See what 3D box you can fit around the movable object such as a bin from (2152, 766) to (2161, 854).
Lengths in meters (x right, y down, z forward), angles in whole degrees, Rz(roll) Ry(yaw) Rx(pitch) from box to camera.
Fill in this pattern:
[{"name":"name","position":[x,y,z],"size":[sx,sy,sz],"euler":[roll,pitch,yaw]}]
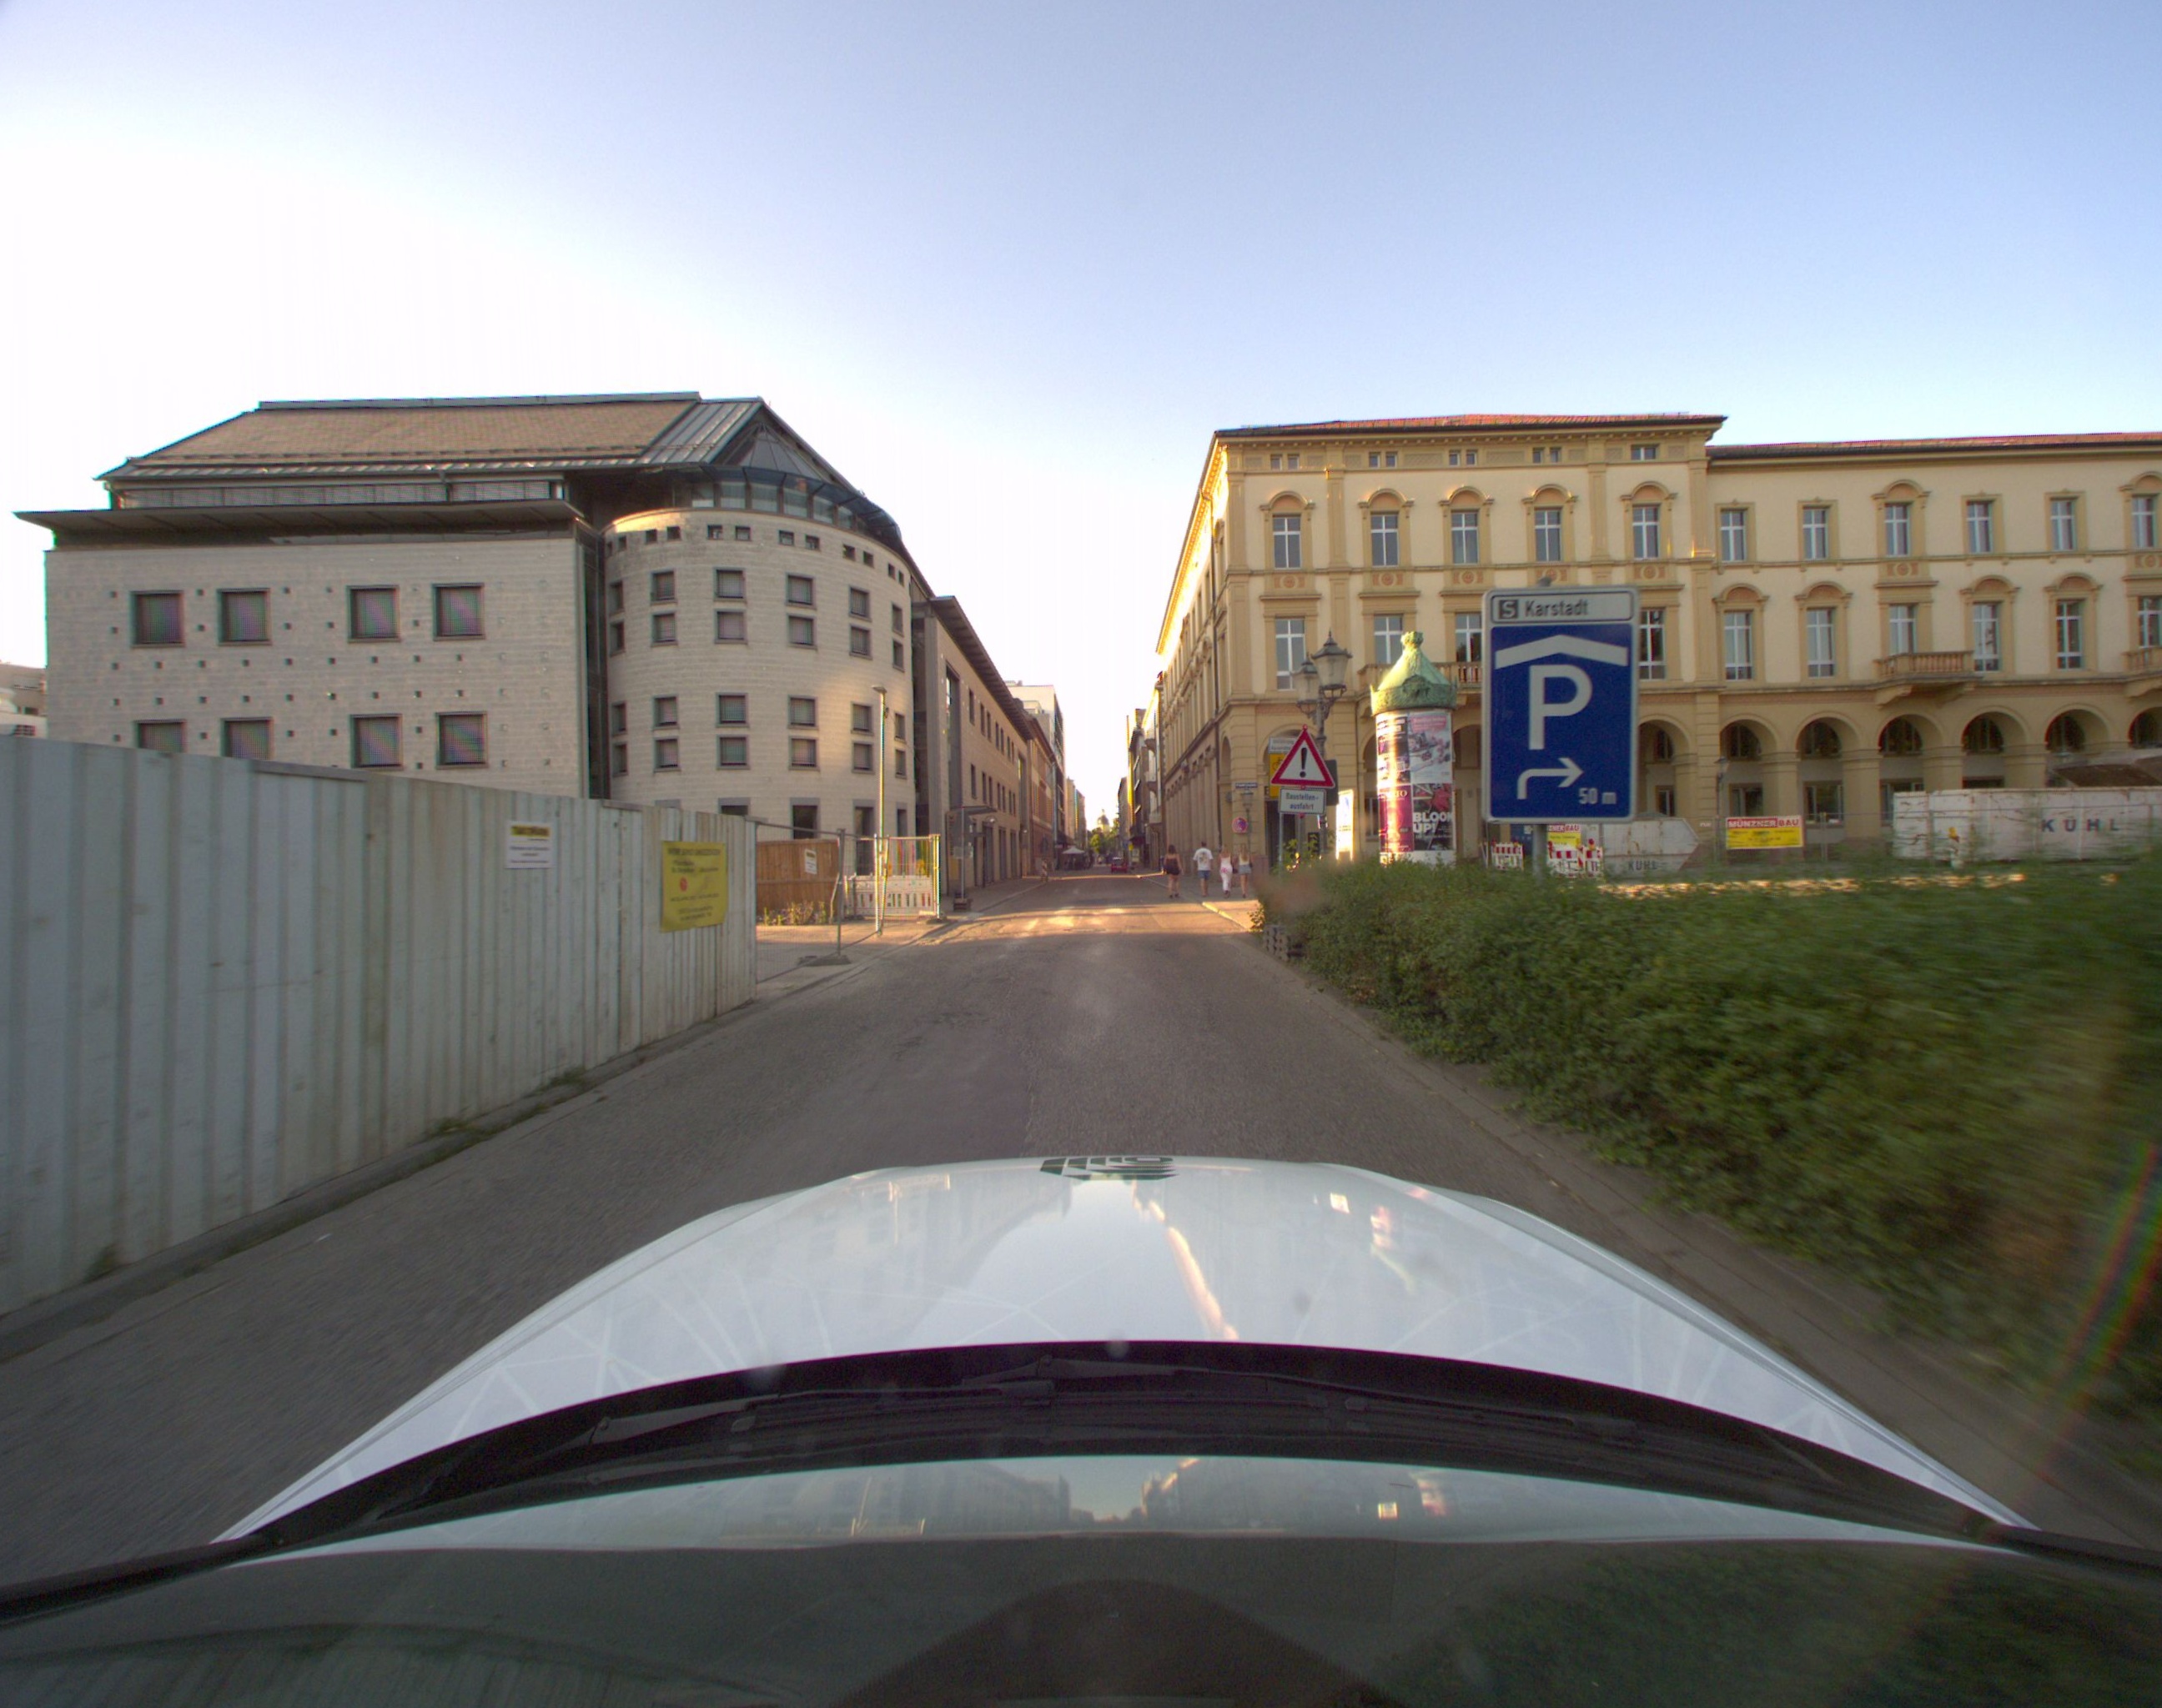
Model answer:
[{"name":"movable object such as a bin","position":[39.226,-1.581,26.904],"size":[4.868,3.008,2.001],"euler":[-2,0,2]}]

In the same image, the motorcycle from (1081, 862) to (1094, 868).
[{"name":"motorcycle","position":[0.961,1.590,122.477],"size":[1.797,0.875,0.560],"euler":[-1,-1,-3]}]

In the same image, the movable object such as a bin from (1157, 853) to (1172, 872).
[{"name":"movable object such as a bin","position":[6.320,0.620,61.611],"size":[0.987,1.392,1.240],"euler":[-2,0,0]}]

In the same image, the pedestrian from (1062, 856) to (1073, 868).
[{"name":"pedestrian","position":[-1.590,0.965,98.210],"size":[1.286,1.488,0.661],"euler":[-1,-1,-1]}]

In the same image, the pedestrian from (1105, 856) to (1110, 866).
[{"name":"pedestrian","position":[4.586,1.150,139.749],"size":[0.862,1.713,0.852],"euler":[-1,-1,1]}]

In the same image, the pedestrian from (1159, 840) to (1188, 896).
[{"name":"pedestrian","position":[2.982,0.440,26.402],"size":[0.773,1.746,0.875],"euler":[-2,-1,0]}]

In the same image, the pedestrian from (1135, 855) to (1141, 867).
[{"name":"pedestrian","position":[6.975,0.894,99.906],"size":[0.654,1.487,0.493],"euler":[-2,-1,3]}]

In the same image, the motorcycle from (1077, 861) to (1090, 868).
[{"name":"motorcycle","position":[0.407,1.478,114.342],"size":[1.797,1.040,0.493],"euler":[-1,-1,-3]}]

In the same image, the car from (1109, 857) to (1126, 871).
[{"name":"car","position":[3.709,1.013,82.534],"size":[1.643,1.427,3.537],"euler":[1,0,2]}]

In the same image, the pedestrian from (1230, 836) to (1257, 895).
[{"name":"pedestrian","position":[5.044,0.360,25.343],"size":[0.634,1.803,0.772],"euler":[-2,-1,0]}]

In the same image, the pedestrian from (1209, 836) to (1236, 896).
[{"name":"pedestrian","position":[4.388,0.377,25.322],"size":[0.634,1.803,0.772],"euler":[-2,-1,0]}]

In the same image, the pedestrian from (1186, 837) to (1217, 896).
[{"name":"pedestrian","position":[3.952,0.398,26.775],"size":[0.809,1.875,0.875],"euler":[-2,-1,0]}]
